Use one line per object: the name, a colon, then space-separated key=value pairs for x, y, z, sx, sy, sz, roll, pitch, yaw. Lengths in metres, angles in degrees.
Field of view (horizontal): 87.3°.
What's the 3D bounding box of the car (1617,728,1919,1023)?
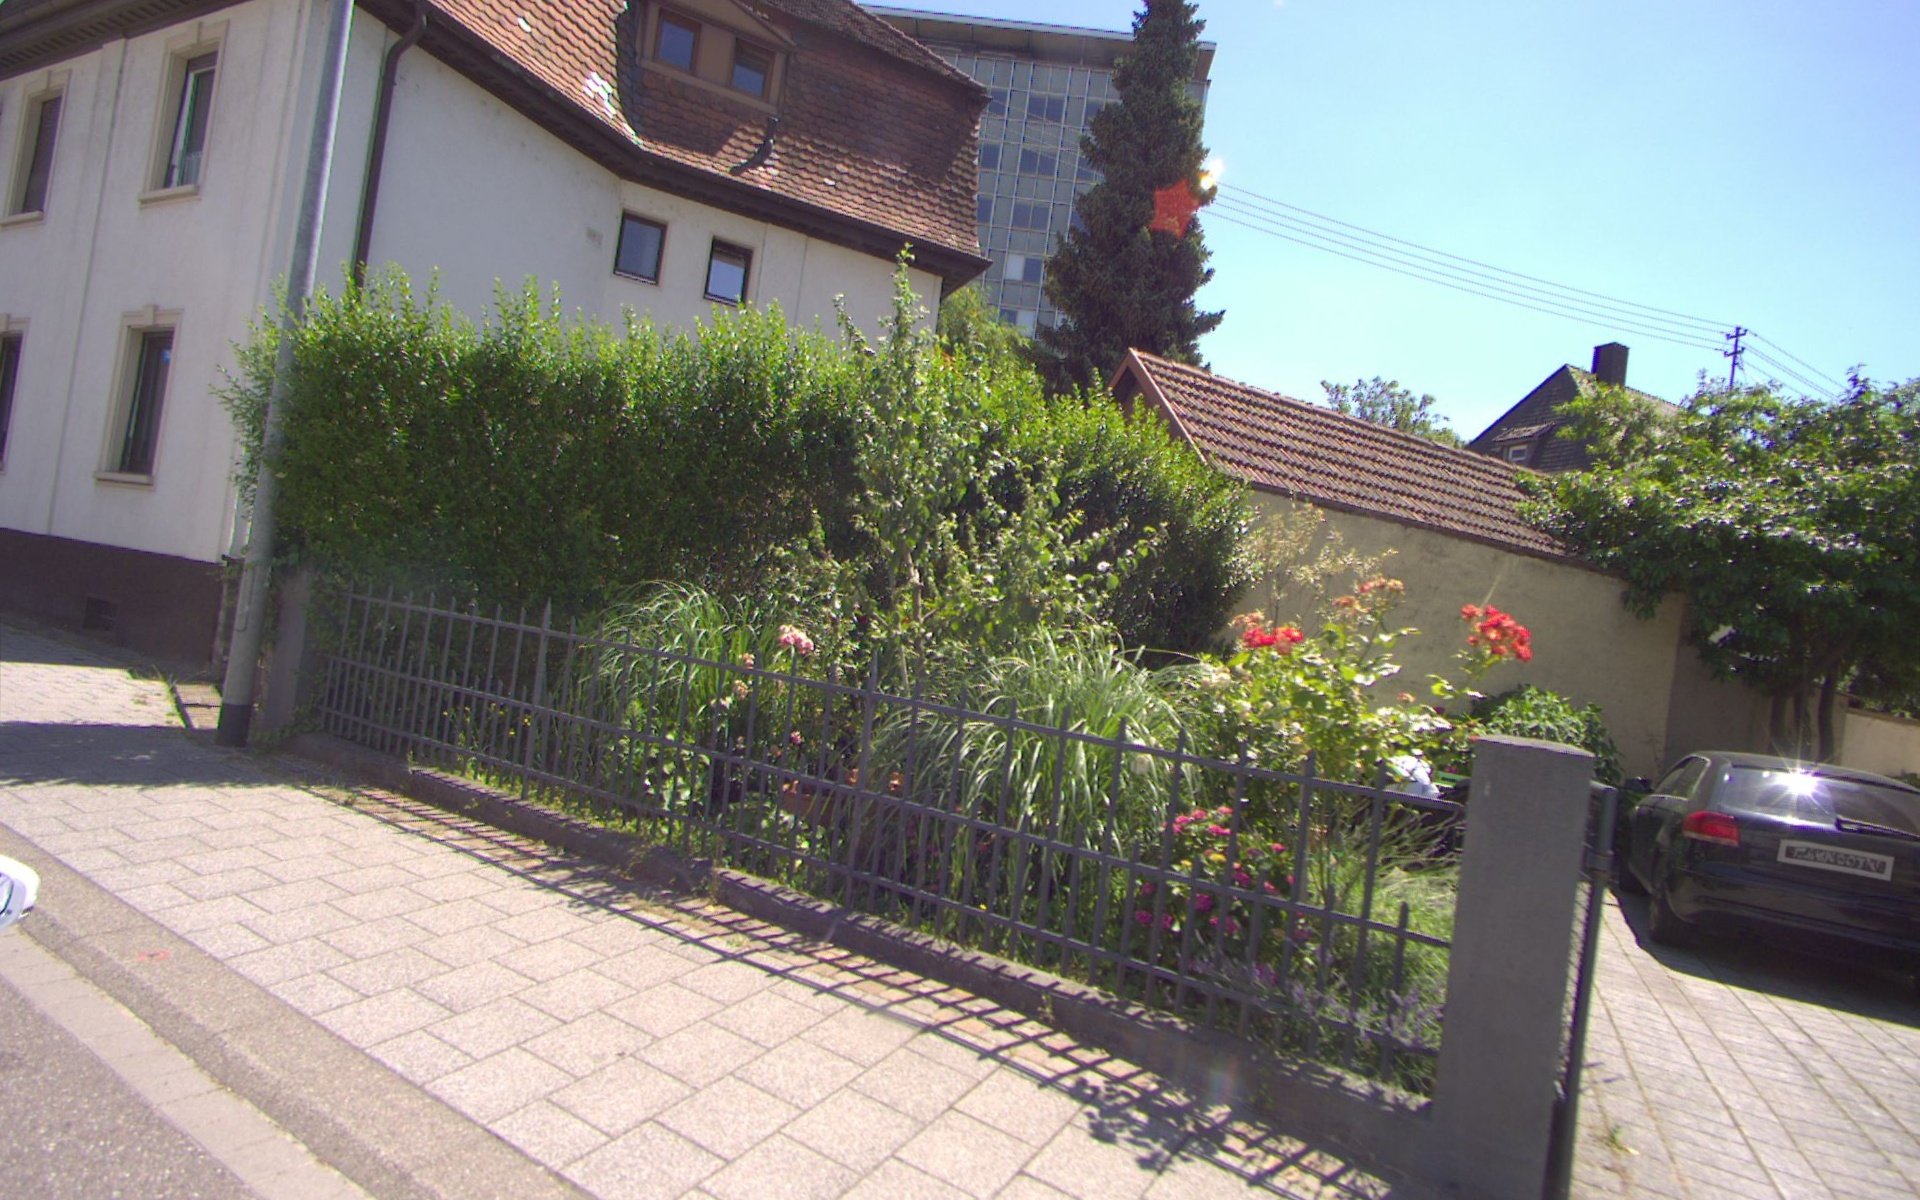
car: x=6.193 y=1.864 z=7.543 sx=1.738 sy=1.503 sz=3.335 roll=6 pitch=-2 yaw=29
